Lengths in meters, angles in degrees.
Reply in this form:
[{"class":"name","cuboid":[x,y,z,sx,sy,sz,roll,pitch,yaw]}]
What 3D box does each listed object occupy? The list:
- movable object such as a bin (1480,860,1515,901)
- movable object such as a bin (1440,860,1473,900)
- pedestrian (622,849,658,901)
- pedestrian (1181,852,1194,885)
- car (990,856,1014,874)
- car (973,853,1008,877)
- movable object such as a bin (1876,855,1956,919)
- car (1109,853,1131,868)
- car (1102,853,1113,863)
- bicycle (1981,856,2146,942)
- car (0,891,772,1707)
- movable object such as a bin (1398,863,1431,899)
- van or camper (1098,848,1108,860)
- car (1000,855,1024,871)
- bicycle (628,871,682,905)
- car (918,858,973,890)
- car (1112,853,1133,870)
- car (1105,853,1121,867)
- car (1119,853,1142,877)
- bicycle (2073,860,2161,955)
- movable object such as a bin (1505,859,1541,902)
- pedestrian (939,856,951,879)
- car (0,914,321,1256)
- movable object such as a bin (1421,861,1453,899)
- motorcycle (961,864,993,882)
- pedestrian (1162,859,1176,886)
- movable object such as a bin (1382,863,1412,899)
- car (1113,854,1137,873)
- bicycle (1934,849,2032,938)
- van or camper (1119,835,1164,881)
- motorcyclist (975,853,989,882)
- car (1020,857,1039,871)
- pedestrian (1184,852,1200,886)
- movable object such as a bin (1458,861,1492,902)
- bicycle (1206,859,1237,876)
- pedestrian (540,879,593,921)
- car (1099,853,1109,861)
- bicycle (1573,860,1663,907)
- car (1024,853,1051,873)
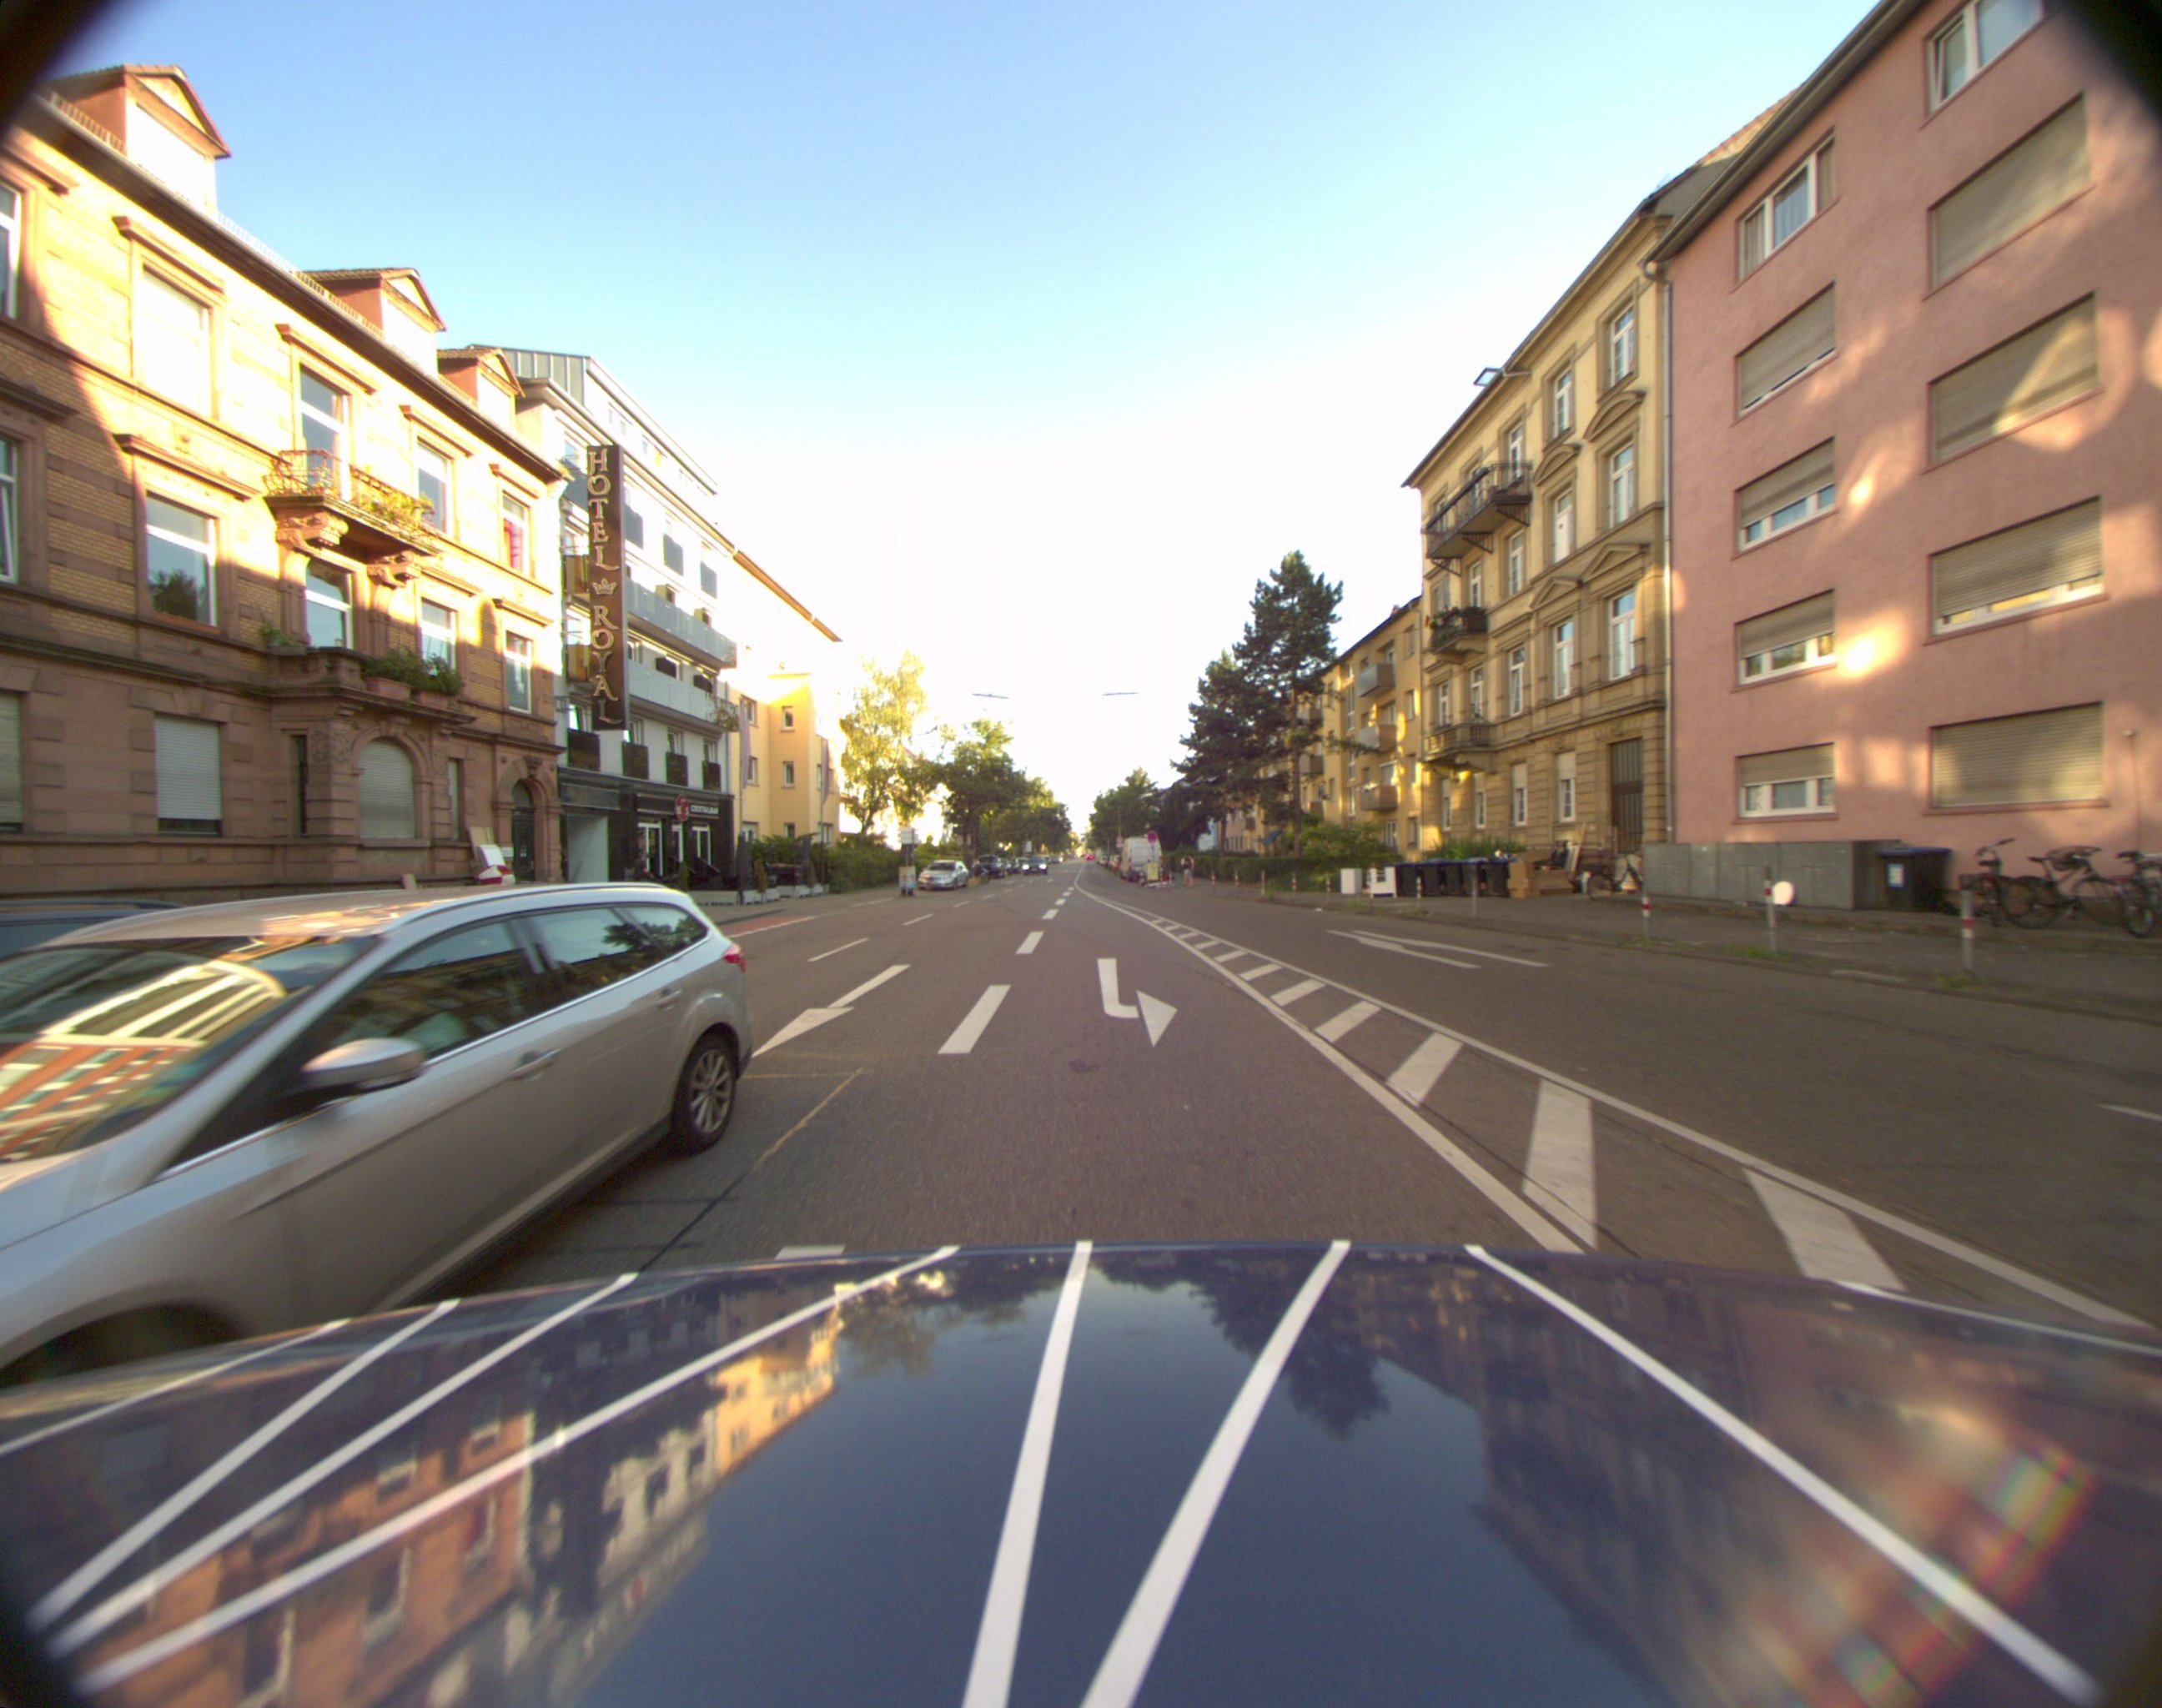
[{"class":"movable object such as a bin","cuboid":[11.632,0.735,21.241,0.643,1.104,0.582,-4,2,-30]},{"class":"movable object such as a bin","cuboid":[11.058,0.757,22.358,0.643,1.104,0.582,-4,2,-30]},{"class":"pedestrian","cuboid":[-14.151,0.664,24.388,0.709,1.634,0.693,-1,1,0]},{"class":"pedestrian","cuboid":[5.468,0.735,38.961,0.481,1.642,0.725,0,1,-6]},{"class":"car","cuboid":[-6.673,0.892,64.592,1.721,1.463,4.431,0,0,-1]},{"class":"car","cuboid":[-6.594,0.791,55.768,1.953,1.645,4.795,-1,0,0]},{"class":"movable object such as a bin","cuboid":[13.809,0.532,12.582,0.676,1.026,0.589,-1,1,0]},{"class":"car","cuboid":[3.957,0.684,78.376,1.998,1.439,4.458,-1,0,0]},{"class":"car","cuboid":[4.152,0.654,119.148,1.684,1.434,3.881,-2,0,2]},{"class":"bicycle","cuboid":[13.091,0.582,10.138,1.675,1.035,0.549,-2,1,-6]},{"class":"car","cuboid":[-2.837,1.012,2.589,1.712,1.501,4.309,-2,0,1]},{"class":"movable object such as a bin","cuboid":[10.318,0.827,23.517,0.643,1.062,0.626,-4,2,-30]},{"class":"van or camper","cuboid":[4.573,-0.045,157.059,1.917,2.528,5.334,-1,0,1]},{"class":"car","cuboid":[-6.450,0.783,71.394,1.774,1.440,4.484,0,0,0]},{"class":"bicycle","cuboid":[-13.986,1.119,24.970,1.427,1.104,0.488,2,0,-17]},{"class":"car","cuboid":[-7.002,1.012,39.745,1.860,1.503,4.835,0,0,2]},{"class":"car","cuboid":[3.994,0.674,73.381,1.781,1.579,4.185,-2,0,1]},{"class":"car","cuboid":[3.794,0.670,90.781,1.842,1.508,4.316,-2,0,1]},{"class":"car","cuboid":[3.424,0.736,53.011,1.407,1.539,2.762,-3,0,2]},{"class":"bicycle","cuboid":[13.121,0.628,9.309,1.676,1.035,0.549,-2,1,-14]},{"class":"movable object such as a bin","cuboid":[12.050,0.711,20.722,0.643,1.104,0.582,-4,2,-30]},{"class":"pedestrian","cuboid":[-9.589,0.919,53.630,0.748,1.606,0.579,-1,1,-1]},{"class":"car","cuboid":[-5.819,1.126,2.841,1.712,1.449,4.158,-1,0,1]},{"class":"movable object such as a bin","cuboid":[10.741,0.775,22.924,0.643,1.104,0.582,-4,2,-30]},{"class":"motorcycle","cuboid":[-6.476,1.205,47.389,1.932,1.065,0.819,-1,1,-11]},{"class":"pedestrian","cuboid":[4.546,0.941,39.281,0.560,1.370,0.480,-3,1,-5]},{"class":"movable object such as a bin","cuboid":[10.038,0.854,24.123,0.643,1.077,0.582,-4,2,-30]},{"class":"car","cuboid":[3.582,0.782,62.194,1.721,1.443,3.923,-2,0,0]},{"class":"bicycle","cuboid":[13.001,0.541,10.944,1.677,1.153,0.495,-3,1,-25]},{"class":"van or camper","cuboid":[3.737,0.227,48.149,2.041,2.648,6.014,-3,0,-2]},{"class":"motorcyclist","cuboid":[-6.185,0.815,47.473,0.738,1.768,1.087,-1,1,-11]},{"class":"car","cuboid":[-5.551,1.073,82.341,1.766,1.394,4.333,0,0,1]},{"class":"pedestrian","cuboid":[5.565,0.747,38.223,0.606,1.642,0.696,-1,1,-6]},{"class":"movable object such as a bin","cuboid":[11.261,0.772,21.722,0.643,1.104,0.582,-4,2,-30]},{"class":"bicycle","cuboid":[8.619,0.819,46.641,1.763,0.976,0.590,-2,1,2]},{"class":"pedestrian","cuboid":[-13.426,1.200,19.859,0.692,1.037,0.945,-1,0,4]},{"class":"car","cuboid":[4.306,0.596,143.165,1.808,1.489,3.957,-1,0,2]},{"class":"bicycle","cuboid":[13.087,0.709,18.558,1.653,0.961,0.662,-6,1,-1]},{"class":"car","cuboid":[-3.590,0.733,63.335,1.999,1.525,3.999,-1,0,-1]}]
